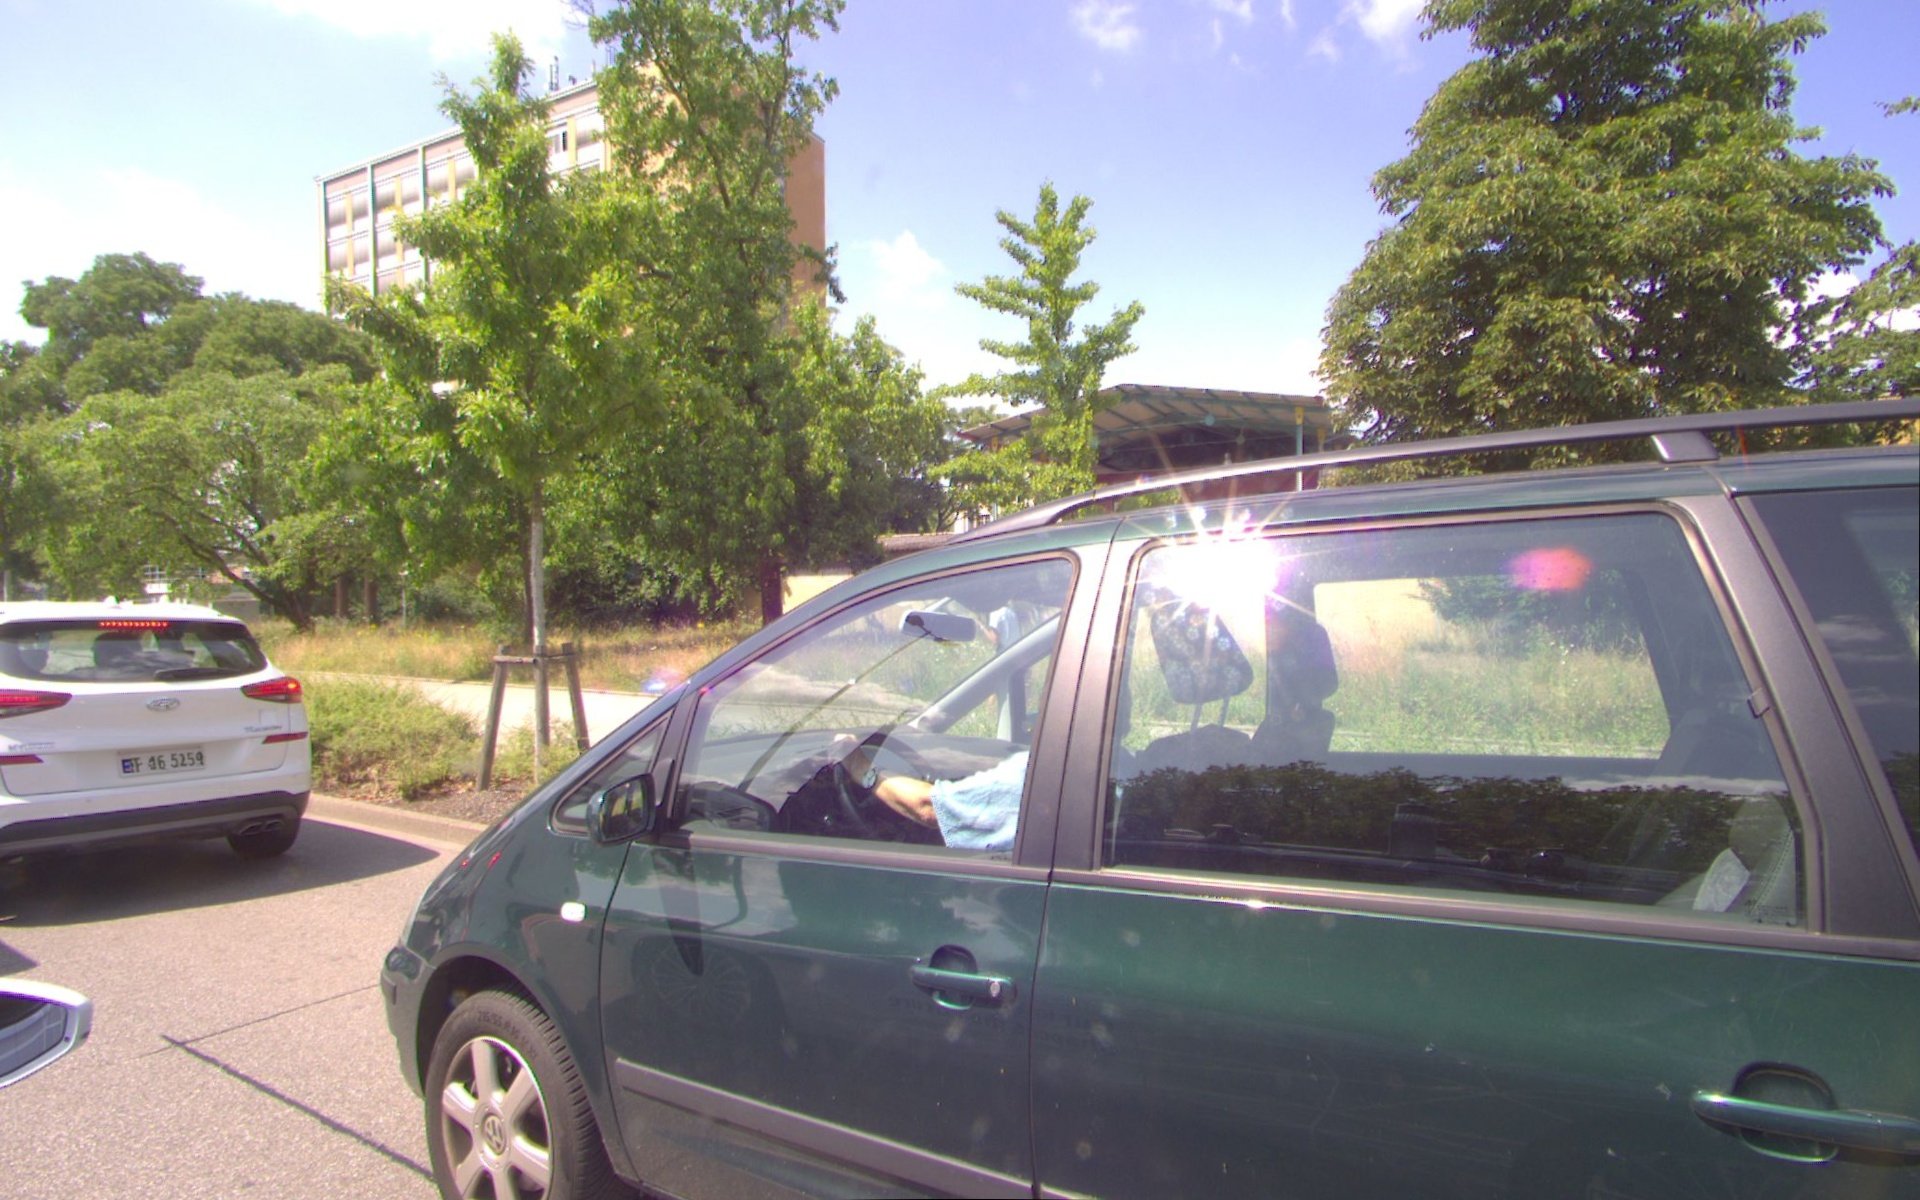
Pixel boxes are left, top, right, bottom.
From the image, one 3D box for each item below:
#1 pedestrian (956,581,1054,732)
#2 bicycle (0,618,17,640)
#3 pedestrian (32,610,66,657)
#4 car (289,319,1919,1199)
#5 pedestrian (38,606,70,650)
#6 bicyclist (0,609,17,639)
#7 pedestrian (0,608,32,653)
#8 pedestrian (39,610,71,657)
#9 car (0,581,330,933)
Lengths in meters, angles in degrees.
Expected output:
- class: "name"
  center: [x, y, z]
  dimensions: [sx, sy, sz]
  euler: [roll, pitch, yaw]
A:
- class: "pedestrian"
  center: [0.494, 0.590, 10.988]
  dimensions: [0.805, 1.578, 0.757]
  euler: [0, 1, 34]
- class: "bicycle"
  center: [-69.128, 2.077, 72.306]
  dimensions: [1.415, 1.483, 4.270]
  euler: [0, 0, -42]
- class: "pedestrian"
  center: [-32.795, 1.196, 36.042]
  dimensions: [0.805, 1.677, 0.756]
  euler: [0, 1, 36]
- class: "car"
  center: [0.541, 0.633, 2.273]
  dimensions: [4.329, 1.737, 1.799]
  euler: [0, -2, 32]
- class: "pedestrian"
  center: [-39.438, 1.204, 43.572]
  dimensions: [0.803, 1.874, 0.759]
  euler: [0, 0, 24]
- class: "bicyclist"
  center: [-69.145, 1.722, 72.314]
  dimensions: [1.422, 2.200, 1.326]
  euler: [0, 1, -43]
- class: "pedestrian"
  center: [-39.890, 1.281, 42.294]
  dimensions: [0.802, 1.874, 0.759]
  euler: [0, 1, 22]
- class: "pedestrian"
  center: [-36.425, 1.328, 40.289]
  dimensions: [0.804, 1.874, 0.757]
  euler: [0, 1, 33]
- class: "car"
  center: [-5.940, 0.771, 6.409]
  dimensions: [3.919, 1.700, 1.810]
  euler: [0, 0, 34]
